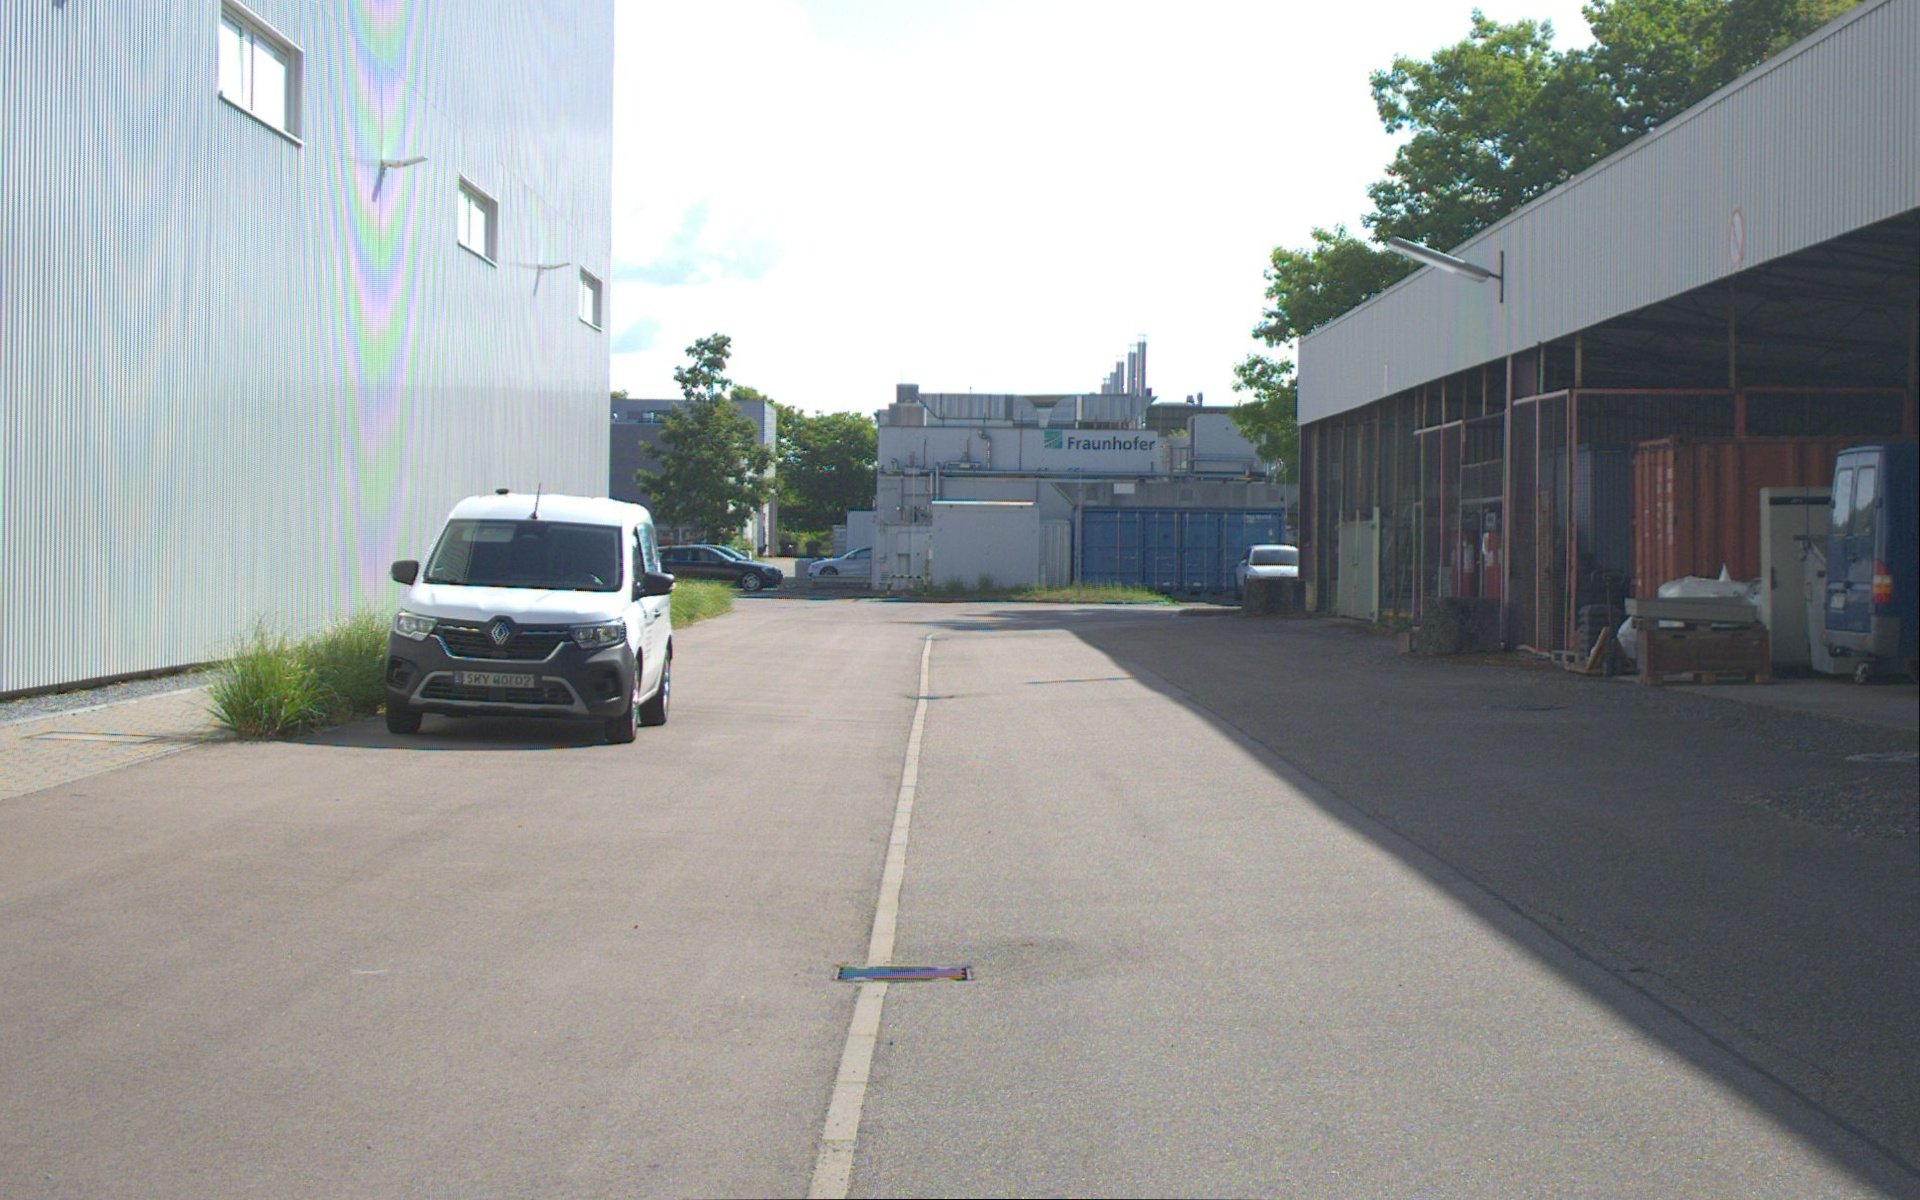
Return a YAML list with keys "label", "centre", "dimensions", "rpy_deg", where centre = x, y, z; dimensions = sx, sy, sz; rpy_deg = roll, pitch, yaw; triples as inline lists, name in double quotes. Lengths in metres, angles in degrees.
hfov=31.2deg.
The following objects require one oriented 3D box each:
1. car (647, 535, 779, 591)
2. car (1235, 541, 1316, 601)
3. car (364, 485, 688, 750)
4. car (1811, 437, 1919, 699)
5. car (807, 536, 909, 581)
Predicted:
- label: "car"
  centre: [-7.770, -1.156, 108.365]
  dimensions: [3.987, 1.592, 1.742]
  rpy_deg: [2, -1, -1]
- label: "car"
  centre: [8.772, -0.827, 95.863]
  dimensions: [1.962, 1.559, 4.059]
  rpy_deg: [2, 1, 2]
- label: "car"
  centre: [-3.196, 0.071, 26.127]
  dimensions: [1.819, 1.781, 4.405]
  rpy_deg: [2, 1, 0]
- label: "car"
  centre: [10.247, -0.194, 31.379]
  dimensions: [4.433, 2.302, 1.915]
  rpy_deg: [2, -1, 1]
- label: "car"
  centre: [-4.032, -1.652, 136.224]
  dimensions: [3.987, 1.592, 1.848]
  rpy_deg: [2, -1, -1]
